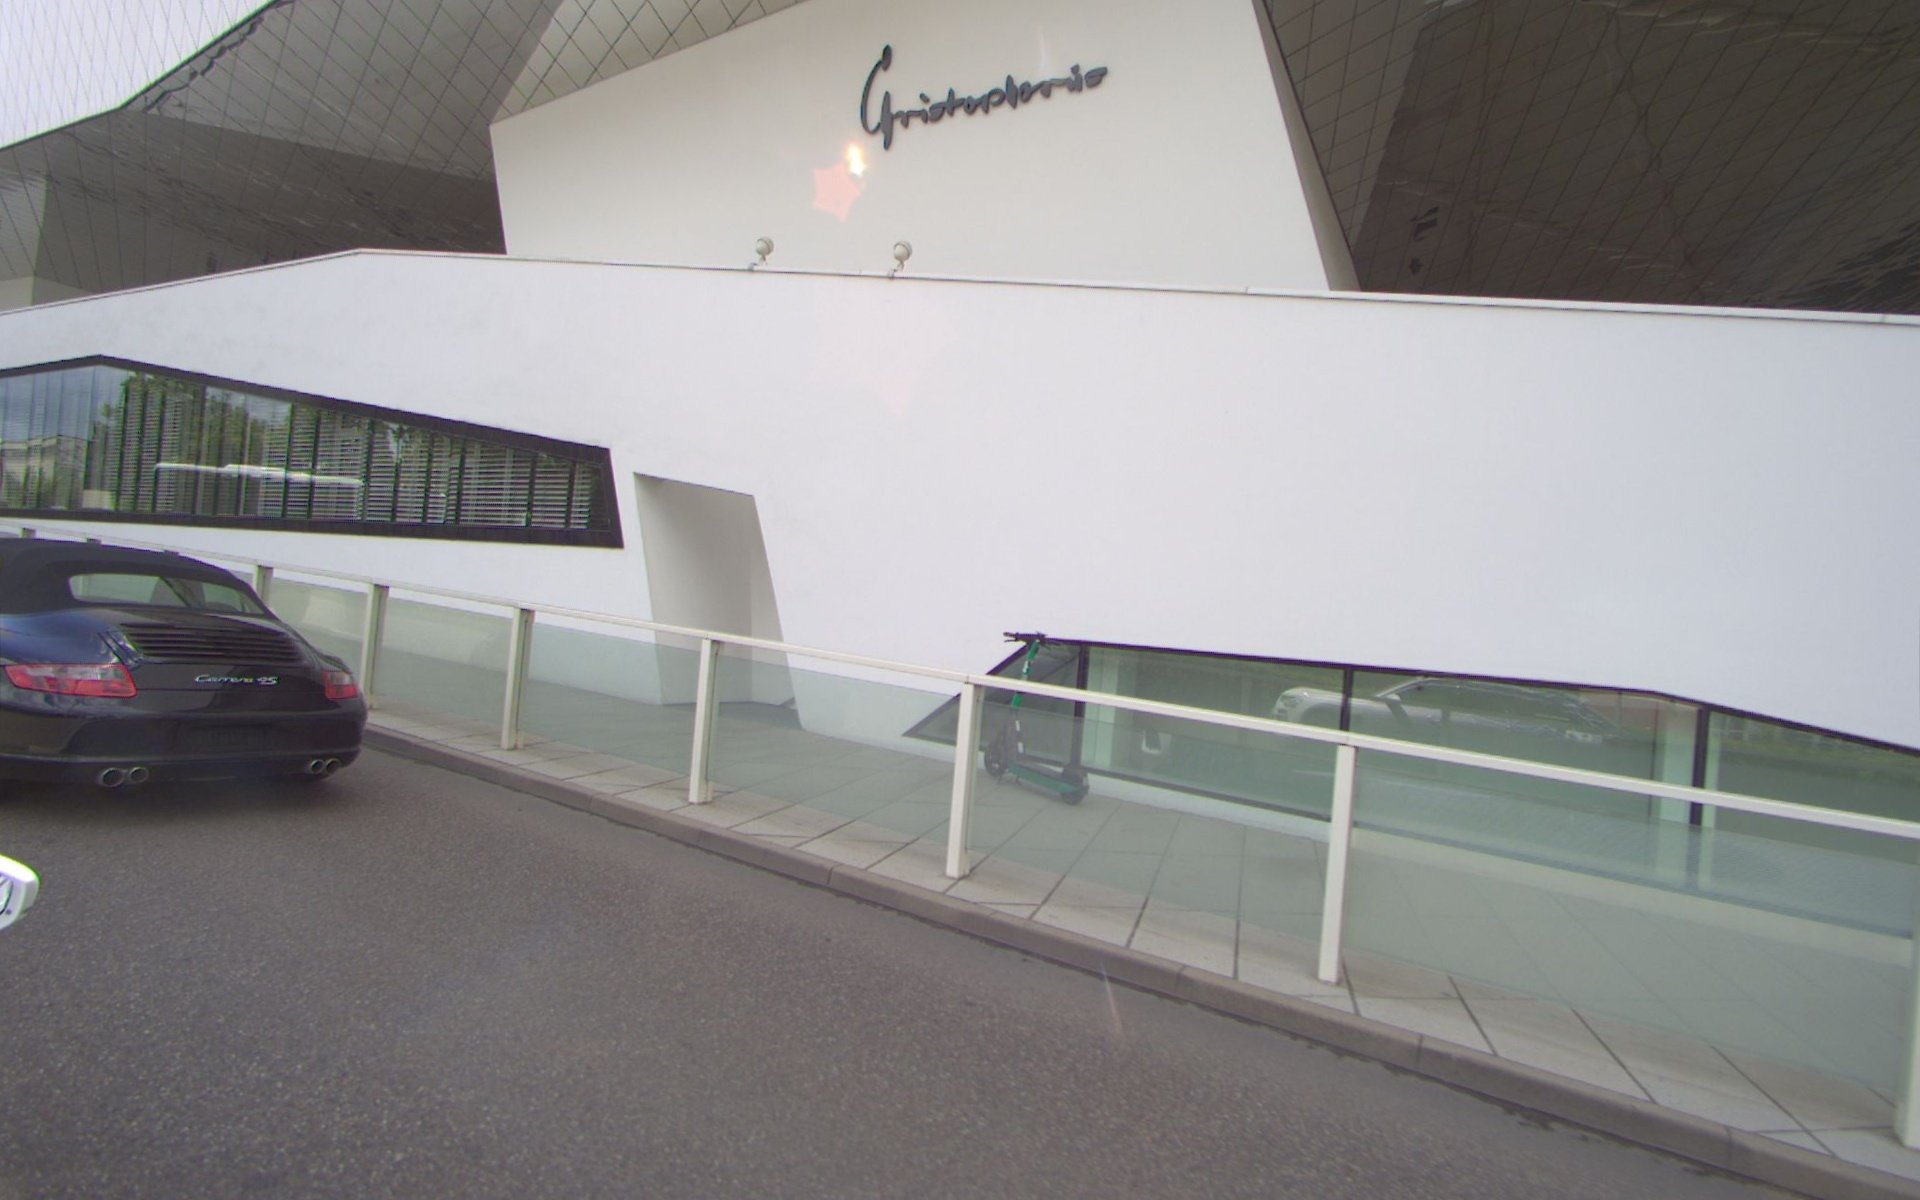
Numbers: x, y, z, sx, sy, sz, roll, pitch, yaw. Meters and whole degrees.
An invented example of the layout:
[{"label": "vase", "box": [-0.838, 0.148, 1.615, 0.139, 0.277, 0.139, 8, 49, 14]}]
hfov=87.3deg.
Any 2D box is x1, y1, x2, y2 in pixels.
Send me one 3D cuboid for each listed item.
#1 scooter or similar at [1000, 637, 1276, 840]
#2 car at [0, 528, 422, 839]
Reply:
[{"label": "scooter or similar", "box": [1.381, 1.031, 7.963, 1.920, 1.258, 0.707, 6, 0, 30]}, {"label": "car", "box": [-5.330, 0.288, 6.103, 4.019, 1.290, 1.723, 6, -1, 31]}]
